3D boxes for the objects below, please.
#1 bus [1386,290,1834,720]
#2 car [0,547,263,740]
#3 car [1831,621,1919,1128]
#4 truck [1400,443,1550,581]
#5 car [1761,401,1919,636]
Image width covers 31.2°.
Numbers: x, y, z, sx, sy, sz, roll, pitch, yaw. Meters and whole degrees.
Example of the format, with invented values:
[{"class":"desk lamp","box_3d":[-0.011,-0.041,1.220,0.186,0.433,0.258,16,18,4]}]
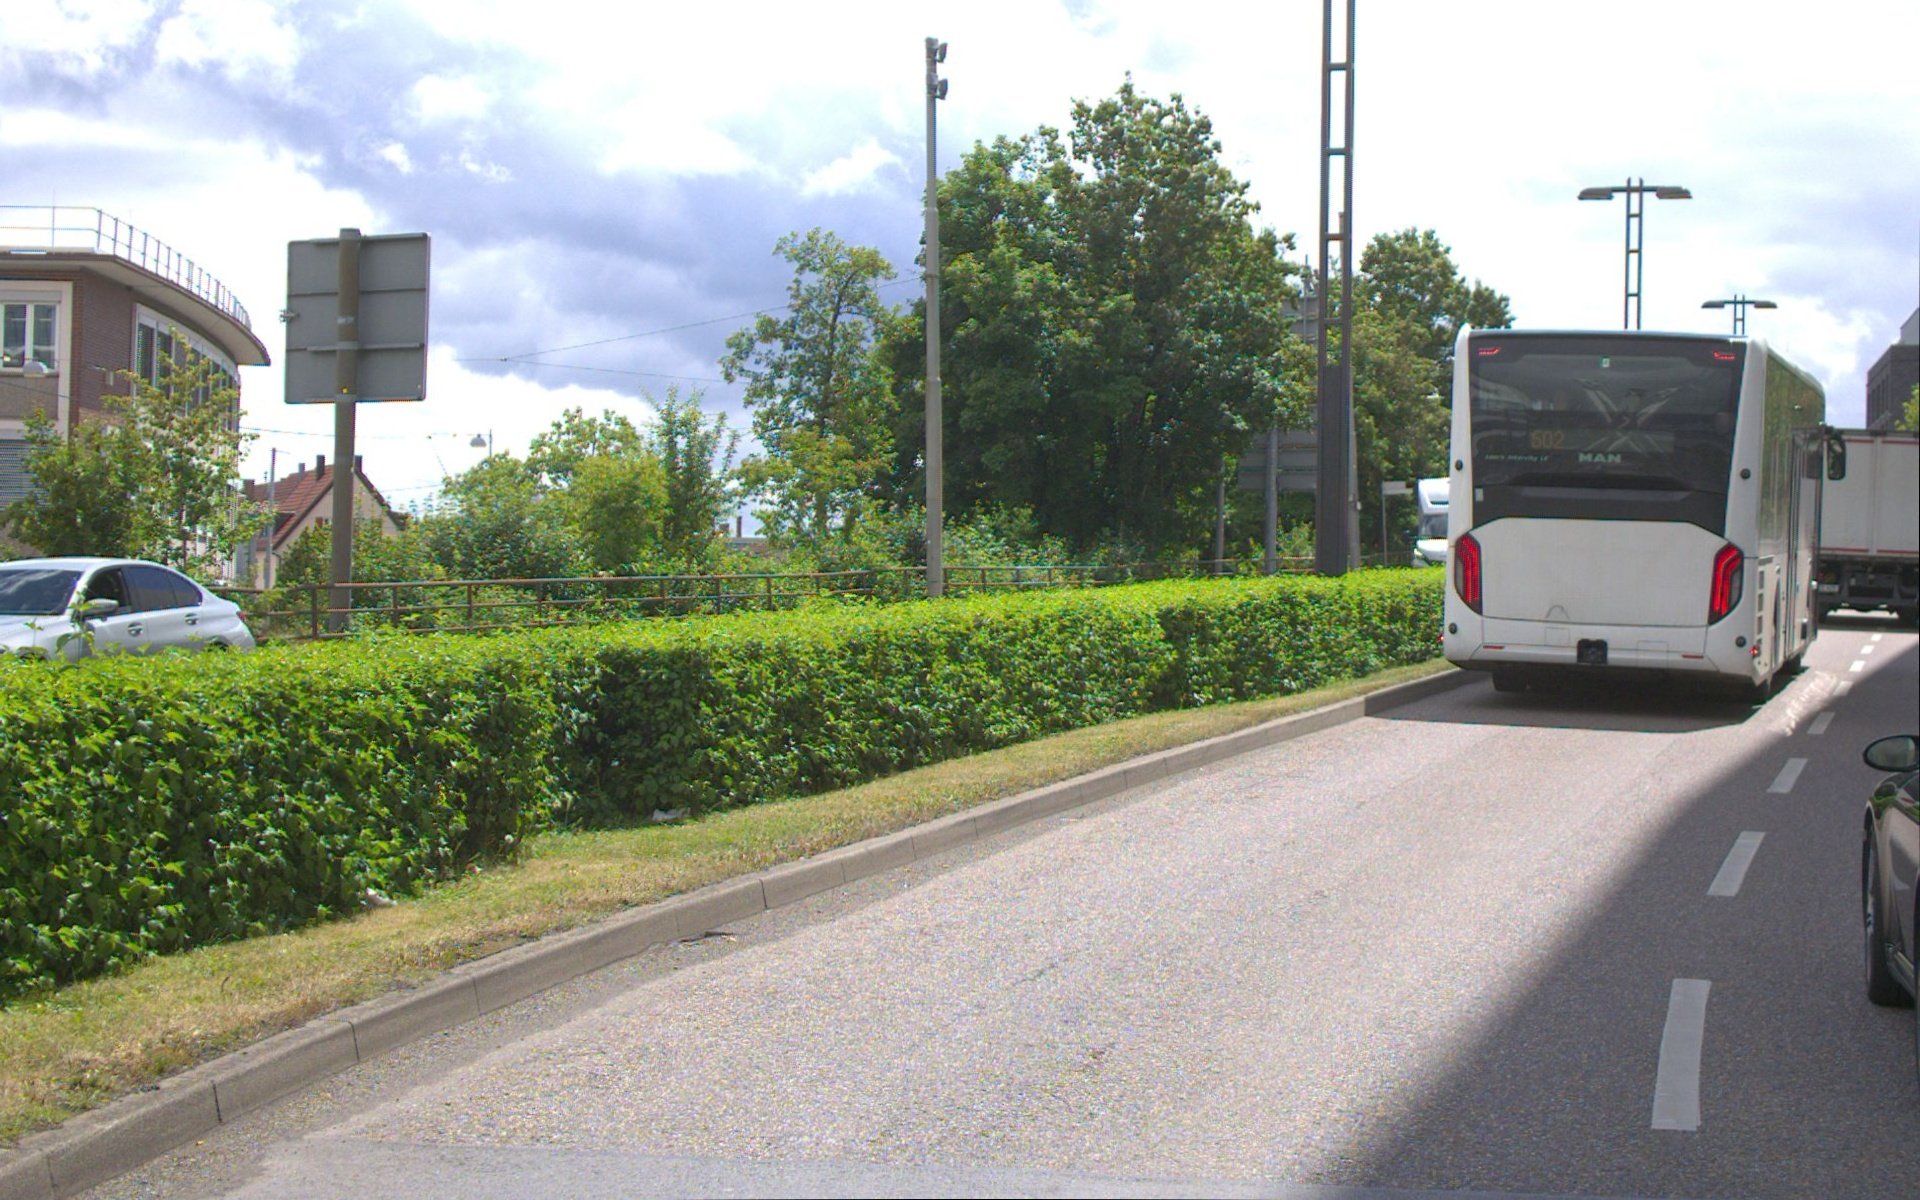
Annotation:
[{"class":"bus","box_3d":[6.694,-0.905,33.566,3.074,3.350,12.214,3,2,16]},{"class":"car","box_3d":[-7.754,0.308,28.678,1.756,1.393,4.670,3,2,17]},{"class":"car","box_3d":[3.679,0.790,10.060,1.835,1.321,3.999,1,1,9]},{"class":"truck","box_3d":[13.312,-2.178,88.296,2.197,2.951,8.943,3,-1,18]},{"class":"car","box_3d":[15.886,-1.262,59.762,3.338,3.492,9.334,3,-1,15]}]
